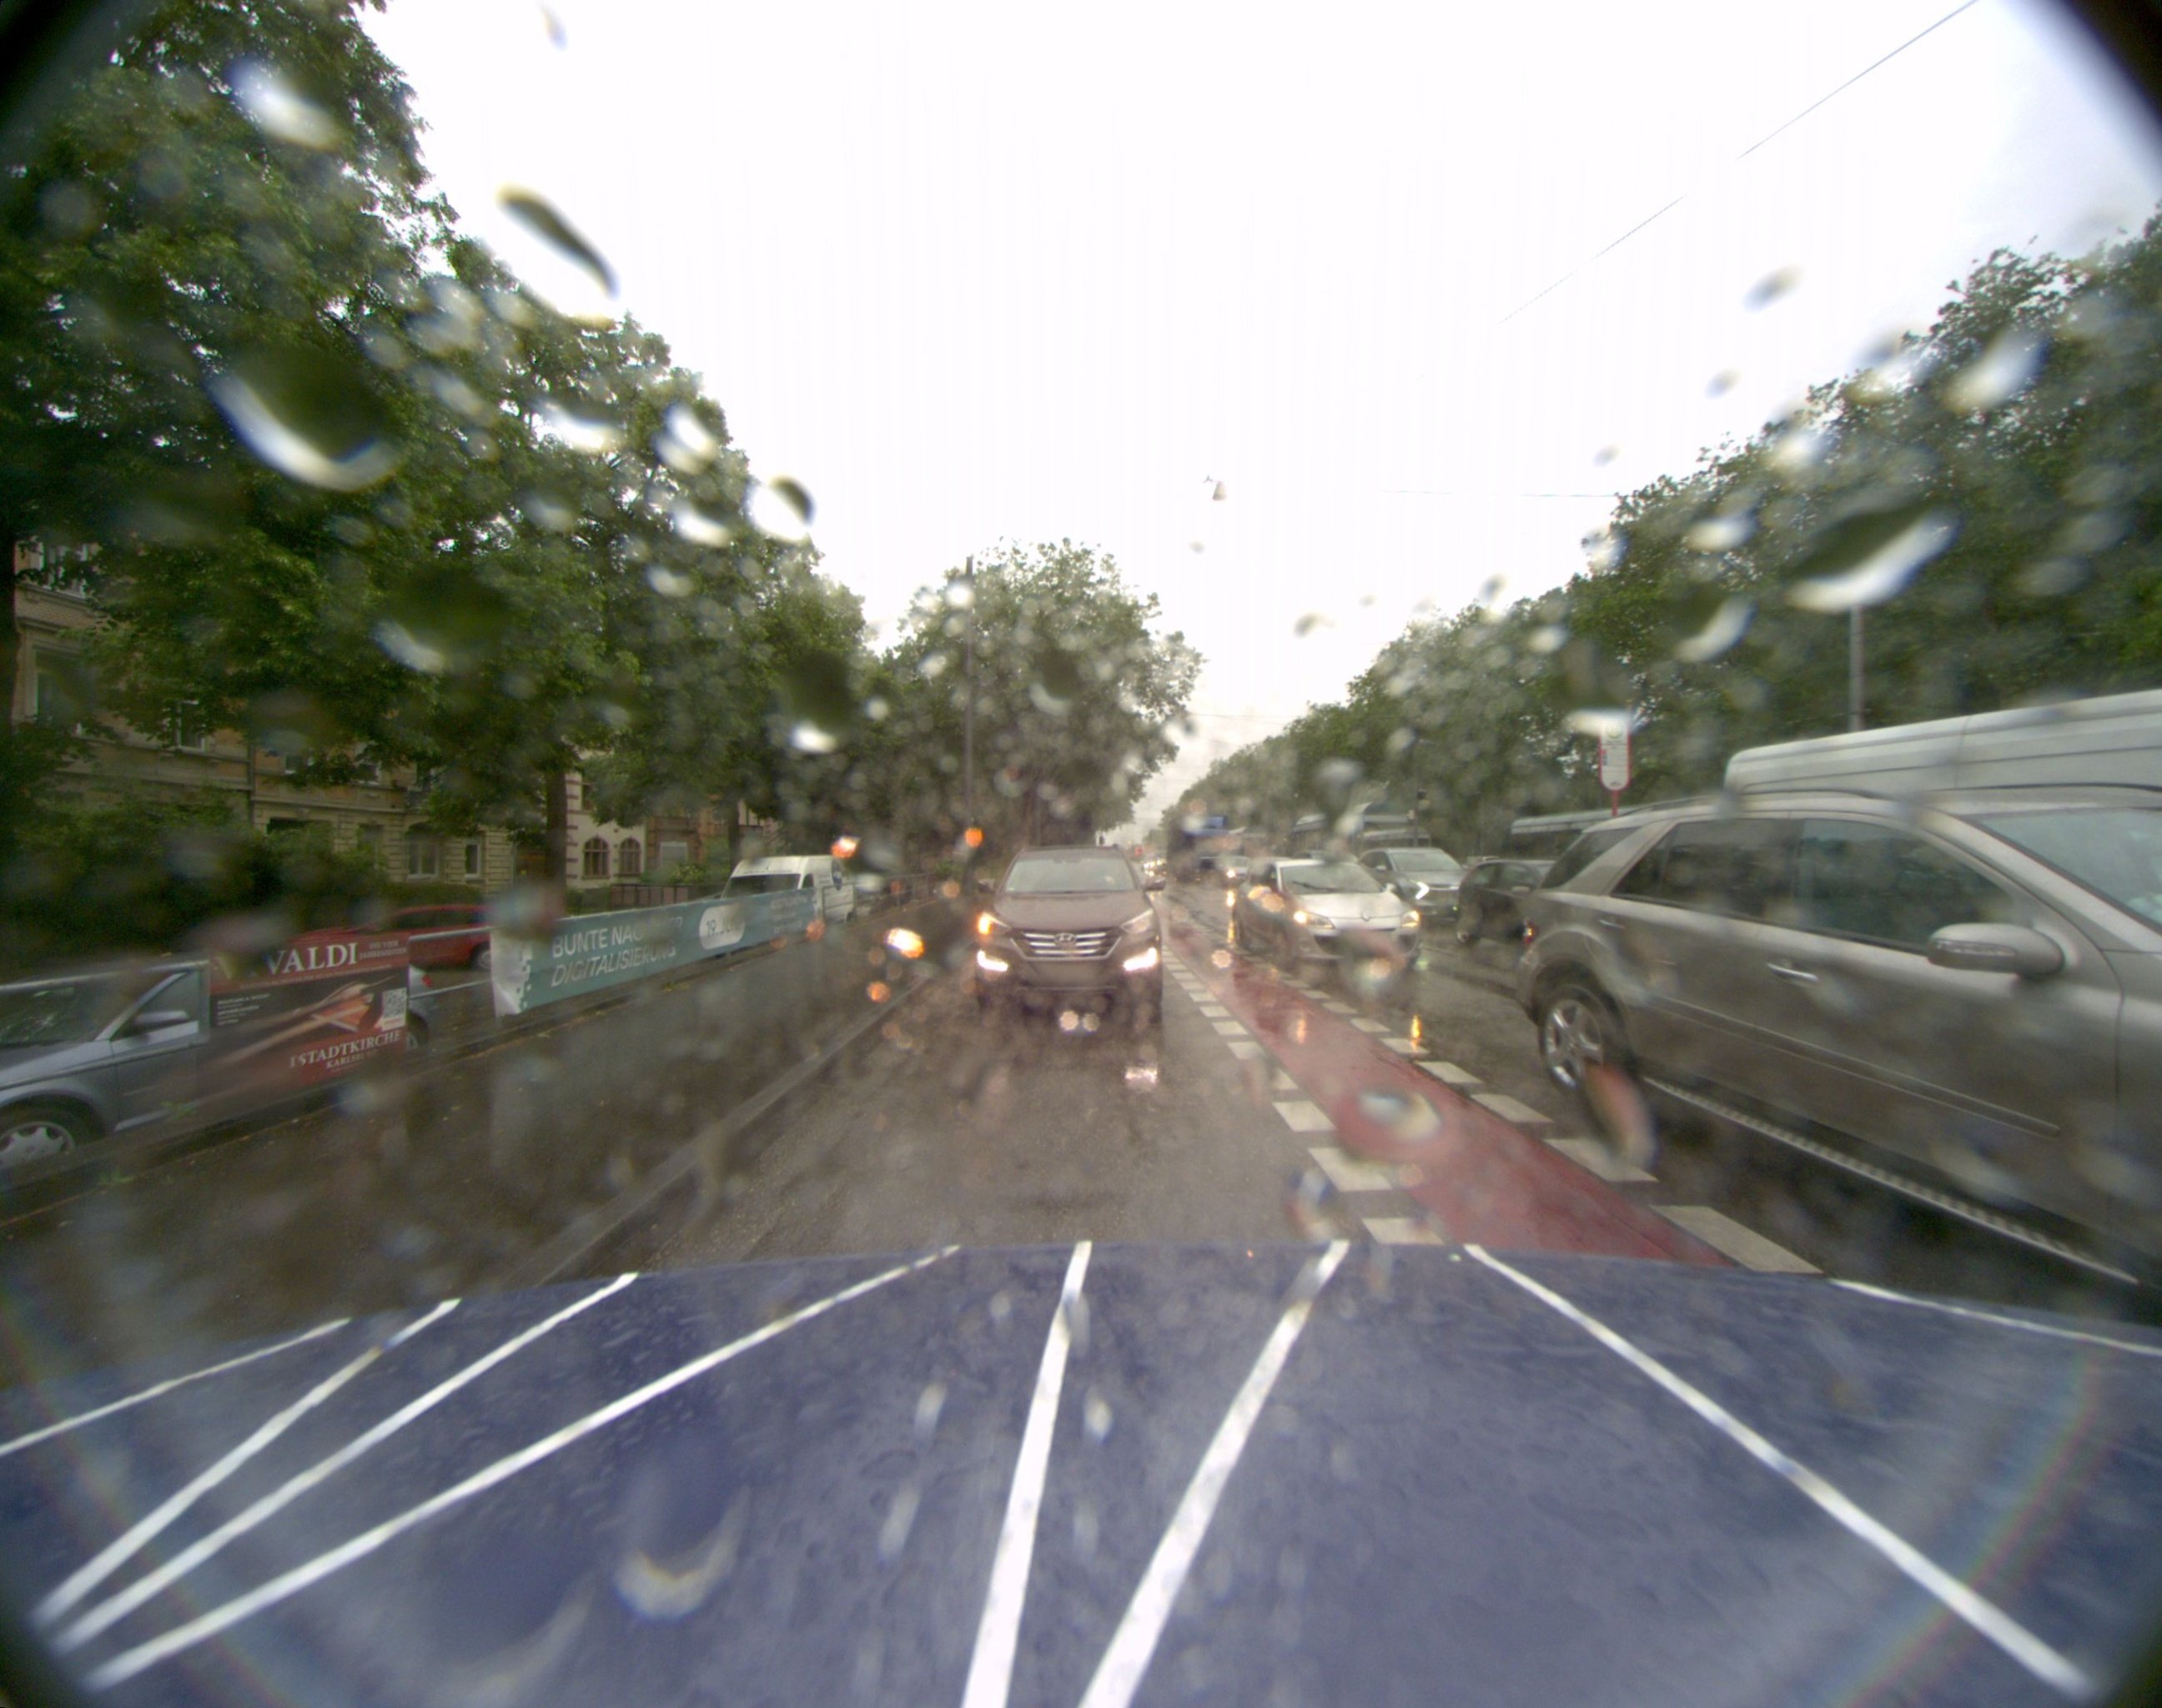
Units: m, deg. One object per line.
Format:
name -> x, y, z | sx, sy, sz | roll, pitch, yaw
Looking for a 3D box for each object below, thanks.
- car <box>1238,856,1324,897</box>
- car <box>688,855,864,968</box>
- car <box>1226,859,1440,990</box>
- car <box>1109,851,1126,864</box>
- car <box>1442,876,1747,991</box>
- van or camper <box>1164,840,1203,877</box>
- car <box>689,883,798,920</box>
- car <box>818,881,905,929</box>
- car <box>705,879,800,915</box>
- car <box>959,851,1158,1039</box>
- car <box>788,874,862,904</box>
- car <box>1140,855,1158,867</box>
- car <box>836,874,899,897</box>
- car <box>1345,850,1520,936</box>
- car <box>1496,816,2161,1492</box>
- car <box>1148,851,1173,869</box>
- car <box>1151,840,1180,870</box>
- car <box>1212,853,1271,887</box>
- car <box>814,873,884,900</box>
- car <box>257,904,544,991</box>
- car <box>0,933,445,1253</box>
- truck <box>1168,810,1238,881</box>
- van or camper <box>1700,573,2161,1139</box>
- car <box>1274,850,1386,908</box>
car -> 7.527, 0.794, 29.062 | 1.999, 1.386, 4.606 | 0, 0, -1
car -> -7.701, 1.294, 20.098 | 2.214, 2.406, 6.157 | -2, 0, -2
car -> 3.418, 0.863, 11.145 | 1.772, 1.469, 4.000 | -2, 0, 0
car -> 4.474, 0.380, 93.503 | 1.899, 1.569, 3.999 | 0, 0, 0
car -> 6.747, 0.952, 10.590 | 1.467, 1.111, 4.087 | -2, 0, 0
van or camper -> 7.631, 0.290, 57.113 | 1.998, 2.555, 6.431 | -2, 0, 0
car -> -14.858, 2.056, 33.501 | 4.269, 1.372, 1.687 | -1, 1, -27
car -> -7.782, 1.772, 27.353 | 1.972, 1.345, 4.383 | -3, 0, -3
car -> -15.526, 1.992, 36.001 | 4.005, 1.496, 1.655 | -1, 1, -24
car -> -0.140, 0.820, 8.718 | 1.756, 1.657, 3.678 | -2, 0, 2
car -> -15.722, 2.128, 46.665 | 4.006, 1.599, 1.821 | -2, 1, -31
car -> 7.127, 0.711, 79.952 | 1.467, 1.185, 3.615 | -2, 0, 0
car -> -15.540, 2.246, 55.357 | 4.007, 1.455, 1.908 | -2, 1, -34
car -> 7.463, 0.733, 16.694 | 1.919, 1.614, 4.454 | 0, 0, 2
car -> 3.800, 0.748, 2.831 | 2.030, 1.760, 4.462 | -2, 0, 0
car -> 7.614, 0.572, 73.329 | 1.998, 1.568, 4.000 | -2, 0, 1
car -> 7.243, 0.067, 65.761 | 1.998, 2.412, 5.727 | -2, 0, 3
car -> 7.587, 0.733, 36.370 | 1.895, 1.478, 4.077 | -1, 0, -1
car -> -15.356, 2.129, 50.354 | 4.007, 1.557, 1.995 | -2, 1, -34
car -> -14.624, 1.945, 16.741 | 4.439, 1.444, 1.894 | 0, -1, -32
car -> -7.231, 1.594, 5.542 | 1.736, 1.530, 4.074 | -2, 0, -1
truck -> 7.248, -0.480, 46.548 | 2.545, 3.866, 9.810 | 1, 0, -1
van or camper -> 7.049, 0.007, 4.356 | 2.164, 3.123, 5.850 | 0, 0, -1
car -> 7.570, 0.692, 23.584 | 1.999, 1.611, 4.319 | -1, 0, -1
